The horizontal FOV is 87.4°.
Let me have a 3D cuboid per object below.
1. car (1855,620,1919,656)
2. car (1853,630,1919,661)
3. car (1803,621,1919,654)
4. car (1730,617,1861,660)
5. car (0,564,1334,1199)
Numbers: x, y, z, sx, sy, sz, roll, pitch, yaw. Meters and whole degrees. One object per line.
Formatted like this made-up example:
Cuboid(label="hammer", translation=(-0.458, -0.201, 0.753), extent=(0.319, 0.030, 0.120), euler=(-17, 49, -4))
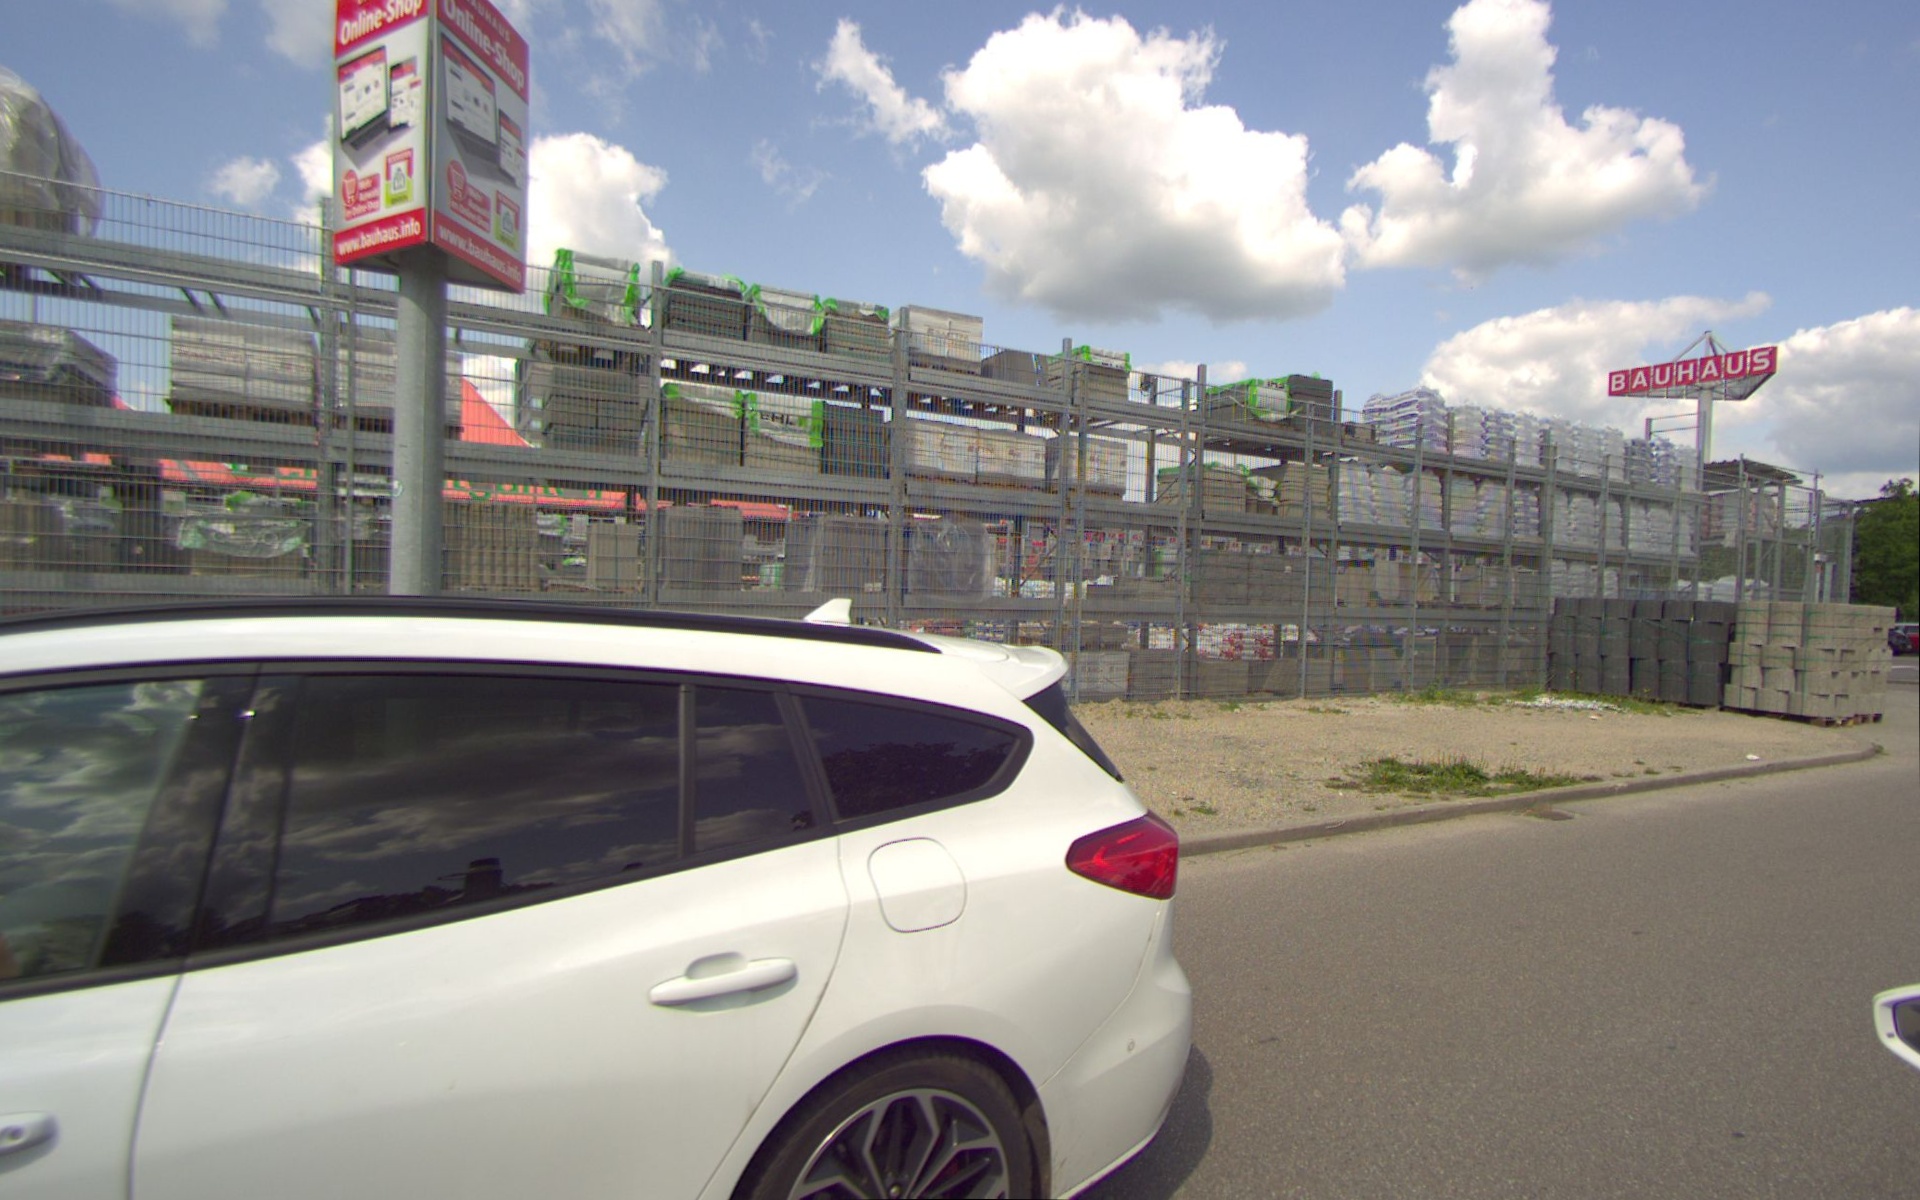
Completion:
Cuboid(label="car", translation=(45.765, 1.860, 48.542), extent=(1.690, 1.602, 3.418), euler=(2, 0, -31))
Cuboid(label="car", translation=(47.669, 2.281, 50.330), extent=(1.747, 1.417, 4.053), euler=(2, 0, -31))
Cuboid(label="car", translation=(43.179, 1.777, 48.168), extent=(1.711, 1.387, 3.848), euler=(2, 0, -33))
Cuboid(label="car", translation=(36.384, 1.662, 43.854), extent=(1.763, 1.646, 4.050), euler=(2, 0, -31))
Cuboid(label="car", translation=(-1.450, 0.684, 2.015), extent=(4.277, 1.484, 1.795), euler=(1, 1, -30))
